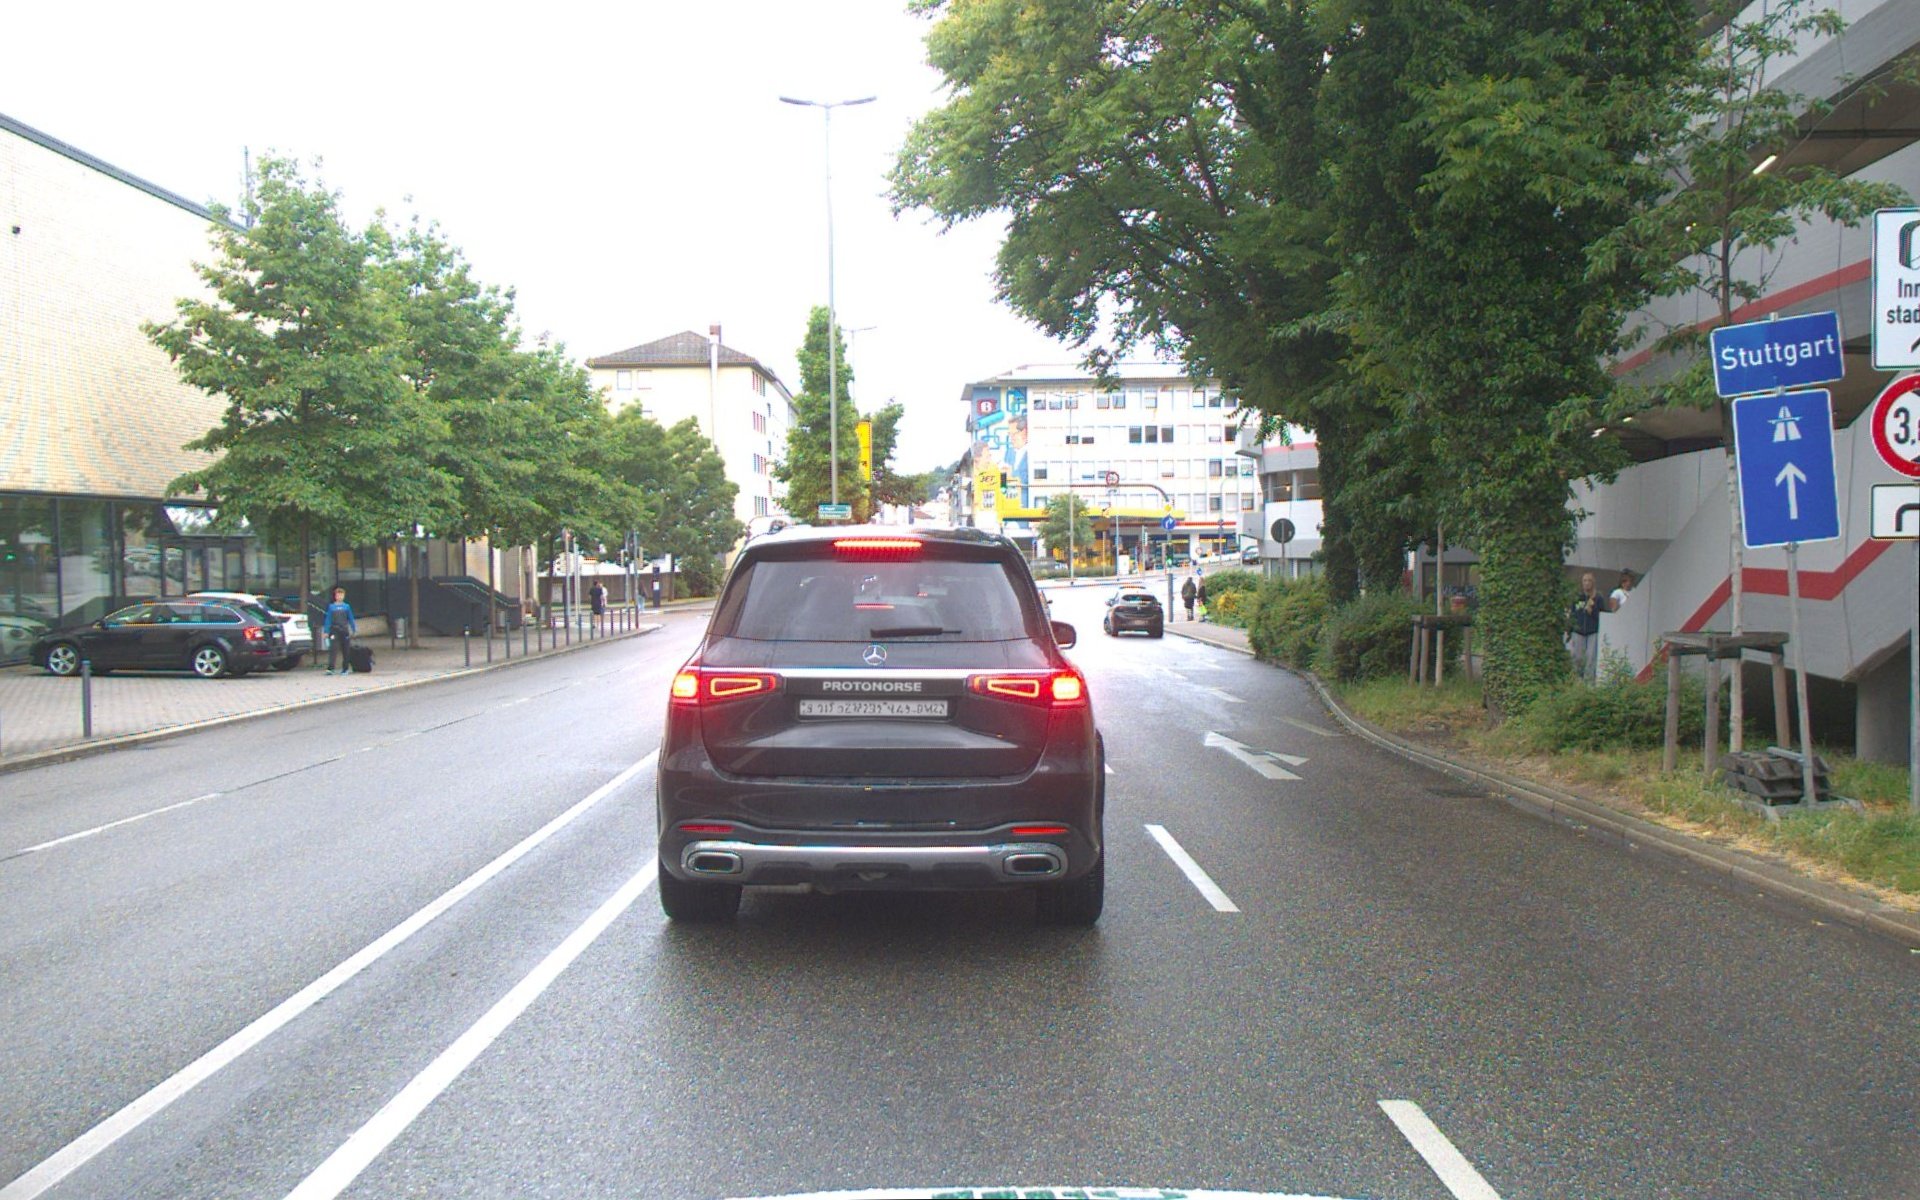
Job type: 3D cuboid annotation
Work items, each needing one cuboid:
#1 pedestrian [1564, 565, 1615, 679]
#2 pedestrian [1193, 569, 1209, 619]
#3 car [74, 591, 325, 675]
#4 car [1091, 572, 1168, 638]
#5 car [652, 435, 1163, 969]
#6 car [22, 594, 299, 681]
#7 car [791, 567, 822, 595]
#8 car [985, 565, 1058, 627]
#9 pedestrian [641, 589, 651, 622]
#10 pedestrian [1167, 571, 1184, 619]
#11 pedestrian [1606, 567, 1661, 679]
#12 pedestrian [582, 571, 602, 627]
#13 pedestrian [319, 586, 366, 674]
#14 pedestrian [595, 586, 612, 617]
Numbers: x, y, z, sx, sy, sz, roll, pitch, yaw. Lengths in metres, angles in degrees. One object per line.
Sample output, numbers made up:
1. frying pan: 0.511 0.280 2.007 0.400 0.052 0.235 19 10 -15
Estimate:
1. pedestrian: 8.747 0.300 22.992 0.539 1.559 0.488 1 -1 5
2. pedestrian: 9.535 -0.242 65.498 0.509 1.944 0.556 1 -1 -1
3. car: -15.821 0.672 34.617 4.331 1.601 1.998 1 2 -6
4. car: 5.556 0.164 54.648 1.953 2.049 3.998 1 0 -2
5. car: -0.269 0.415 8.448 1.953 2.049 3.998 1 0 -2
6. car: -15.292 0.695 31.857 4.383 1.615 1.997 0 0 -8
7. car: -10.979 -1.329 118.801 1.954 1.908 5.139 1 0 -3
8. car: 2.119 -0.130 58.276 1.956 2.049 3.994 1 0 -7
9. pedestrian: -15.879 0.281 83.685 0.391 1.673 0.567 1 -1 -1
10. pedestrian: 8.879 -0.203 68.098 0.607 1.969 0.610 1 -1 3
11. pedestrian: 9.317 0.314 22.887 0.569 1.528 0.504 1 -1 4
12. pedestrian: -13.626 -0.025 61.303 0.576 2.049 0.749 0 -1 -3
13. pedestrian: -12.602 0.601 33.752 0.675 1.755 0.754 1 1 -2
14. pedestrian: -17.061 0.061 79.175 0.697 1.487 0.598 1 -1 -2
